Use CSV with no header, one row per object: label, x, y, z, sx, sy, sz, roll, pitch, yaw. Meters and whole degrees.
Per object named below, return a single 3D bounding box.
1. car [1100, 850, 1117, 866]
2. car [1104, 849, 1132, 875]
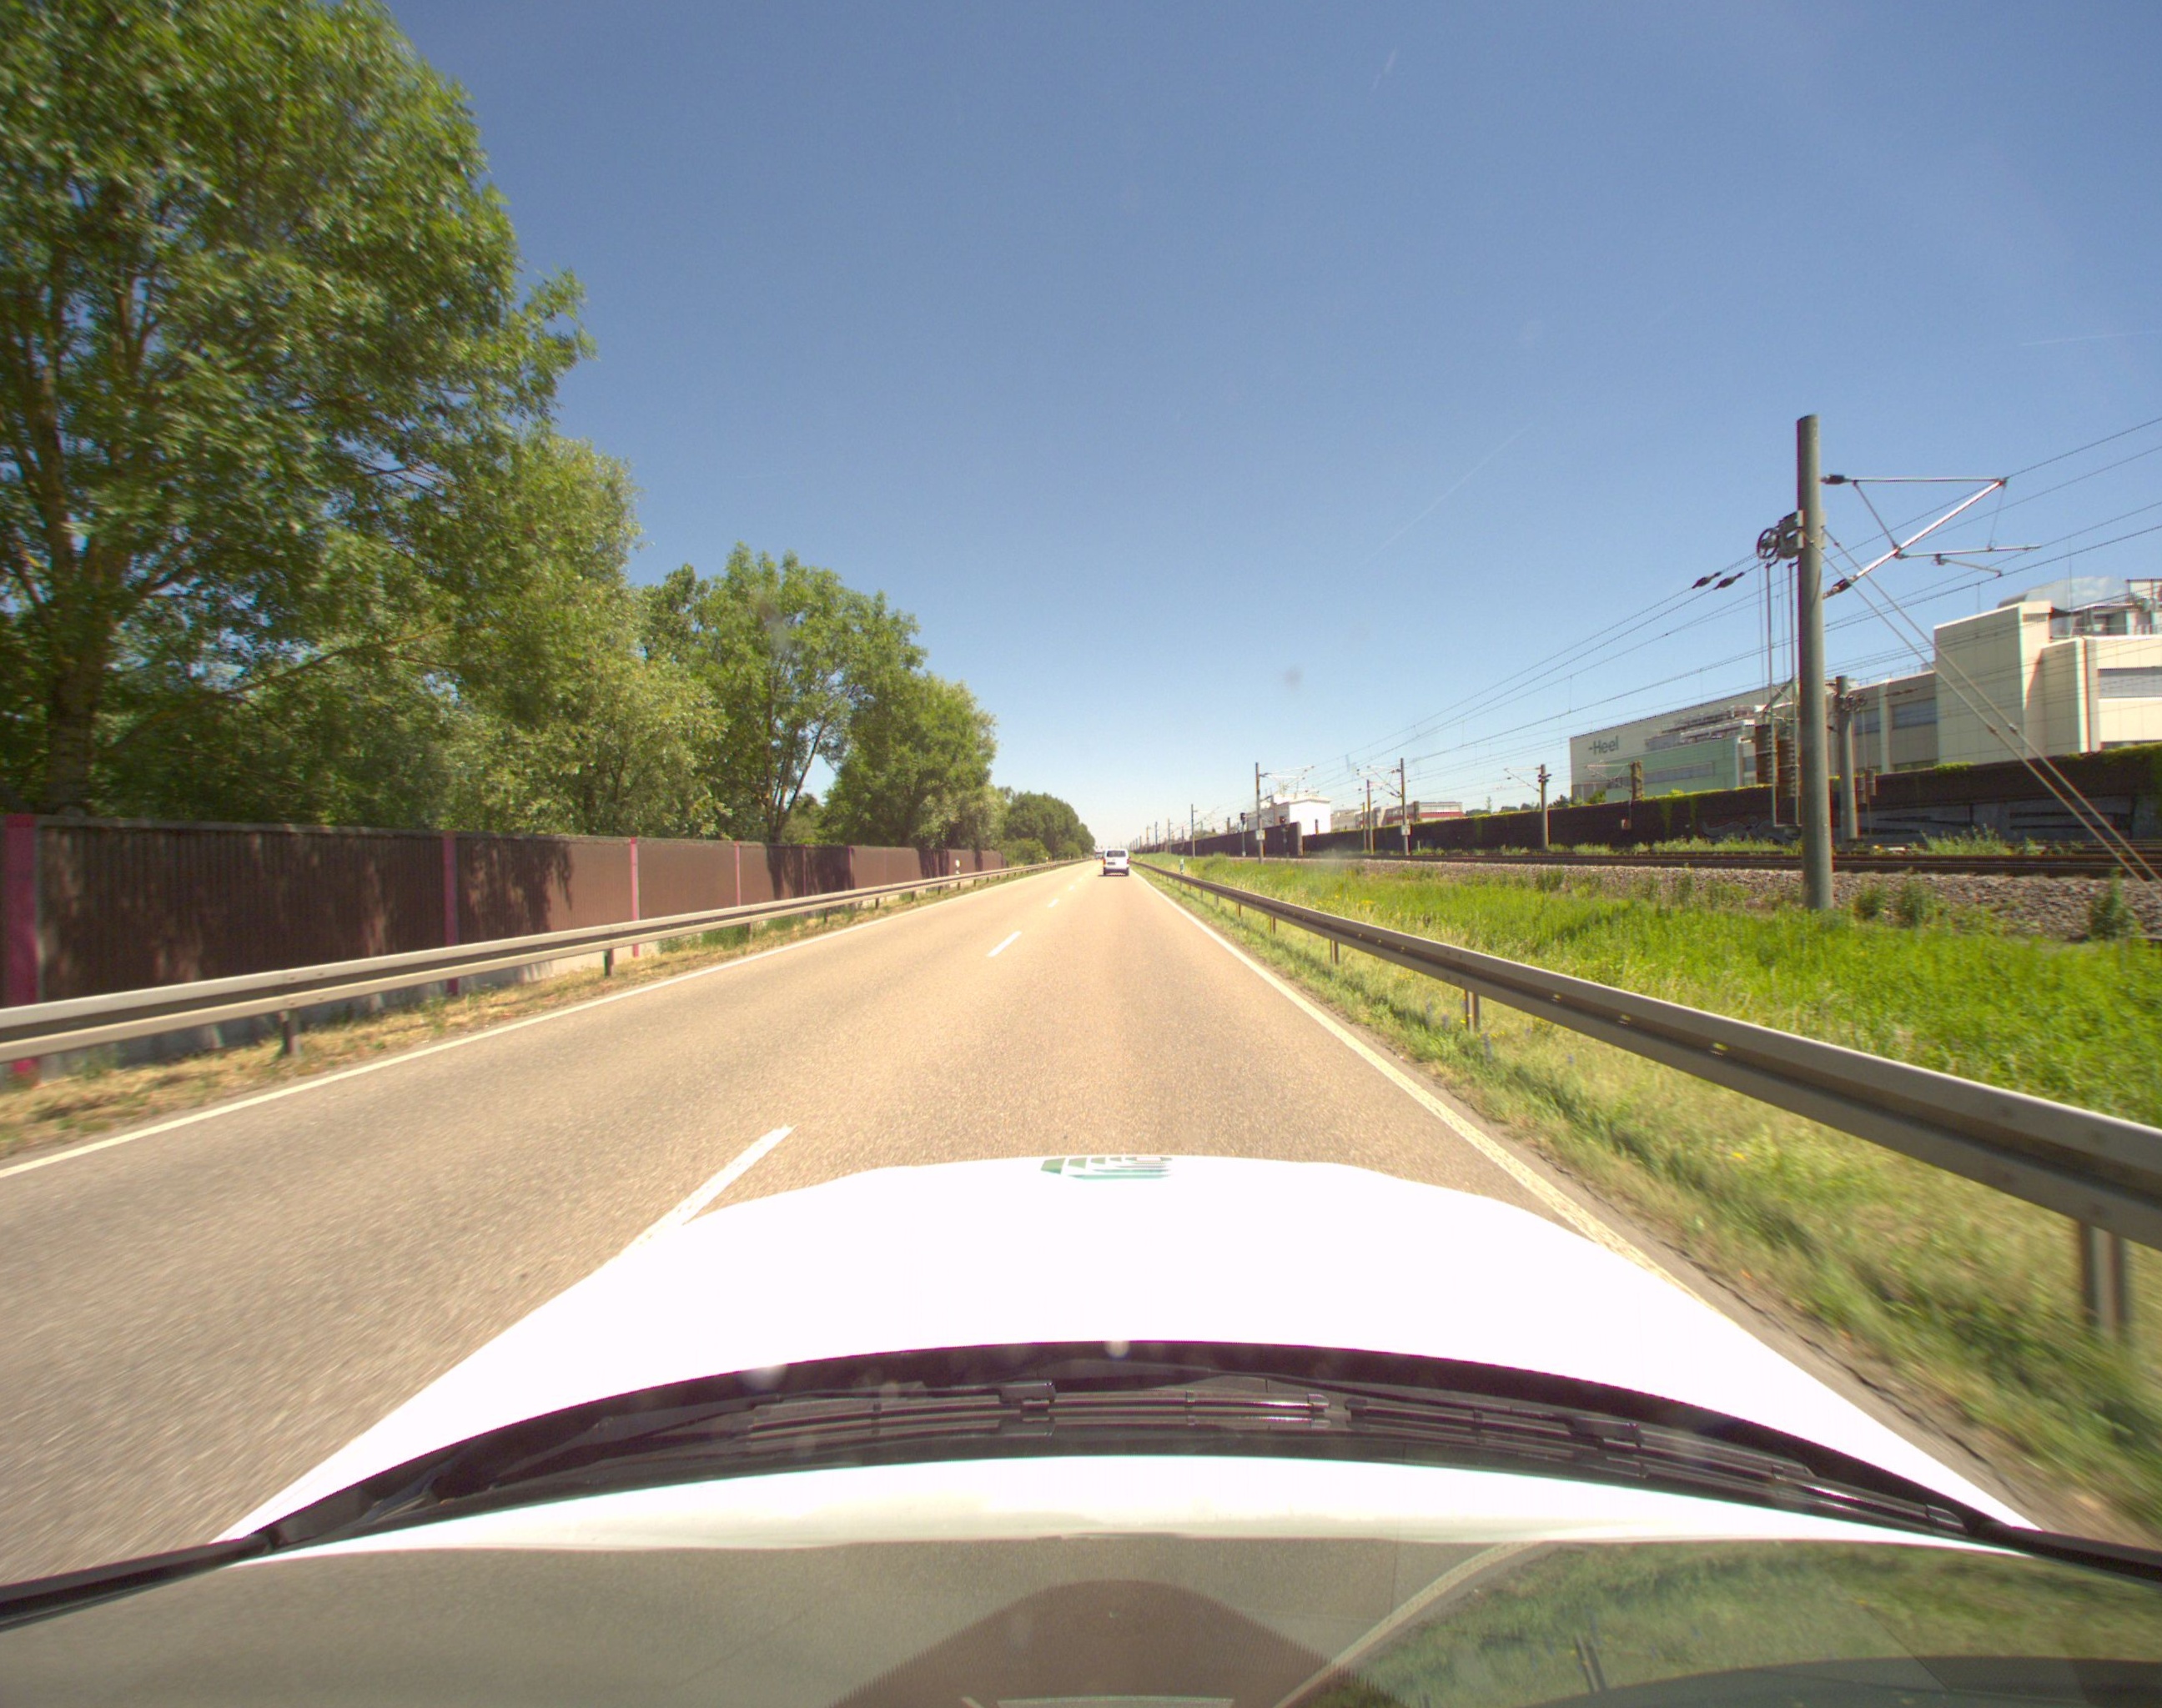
car,3.384,0.511,99.681,1.986,1.850,4.002,0,0,2
car,2.664,0.568,59.263,1.986,1.850,4.002,0,0,2
